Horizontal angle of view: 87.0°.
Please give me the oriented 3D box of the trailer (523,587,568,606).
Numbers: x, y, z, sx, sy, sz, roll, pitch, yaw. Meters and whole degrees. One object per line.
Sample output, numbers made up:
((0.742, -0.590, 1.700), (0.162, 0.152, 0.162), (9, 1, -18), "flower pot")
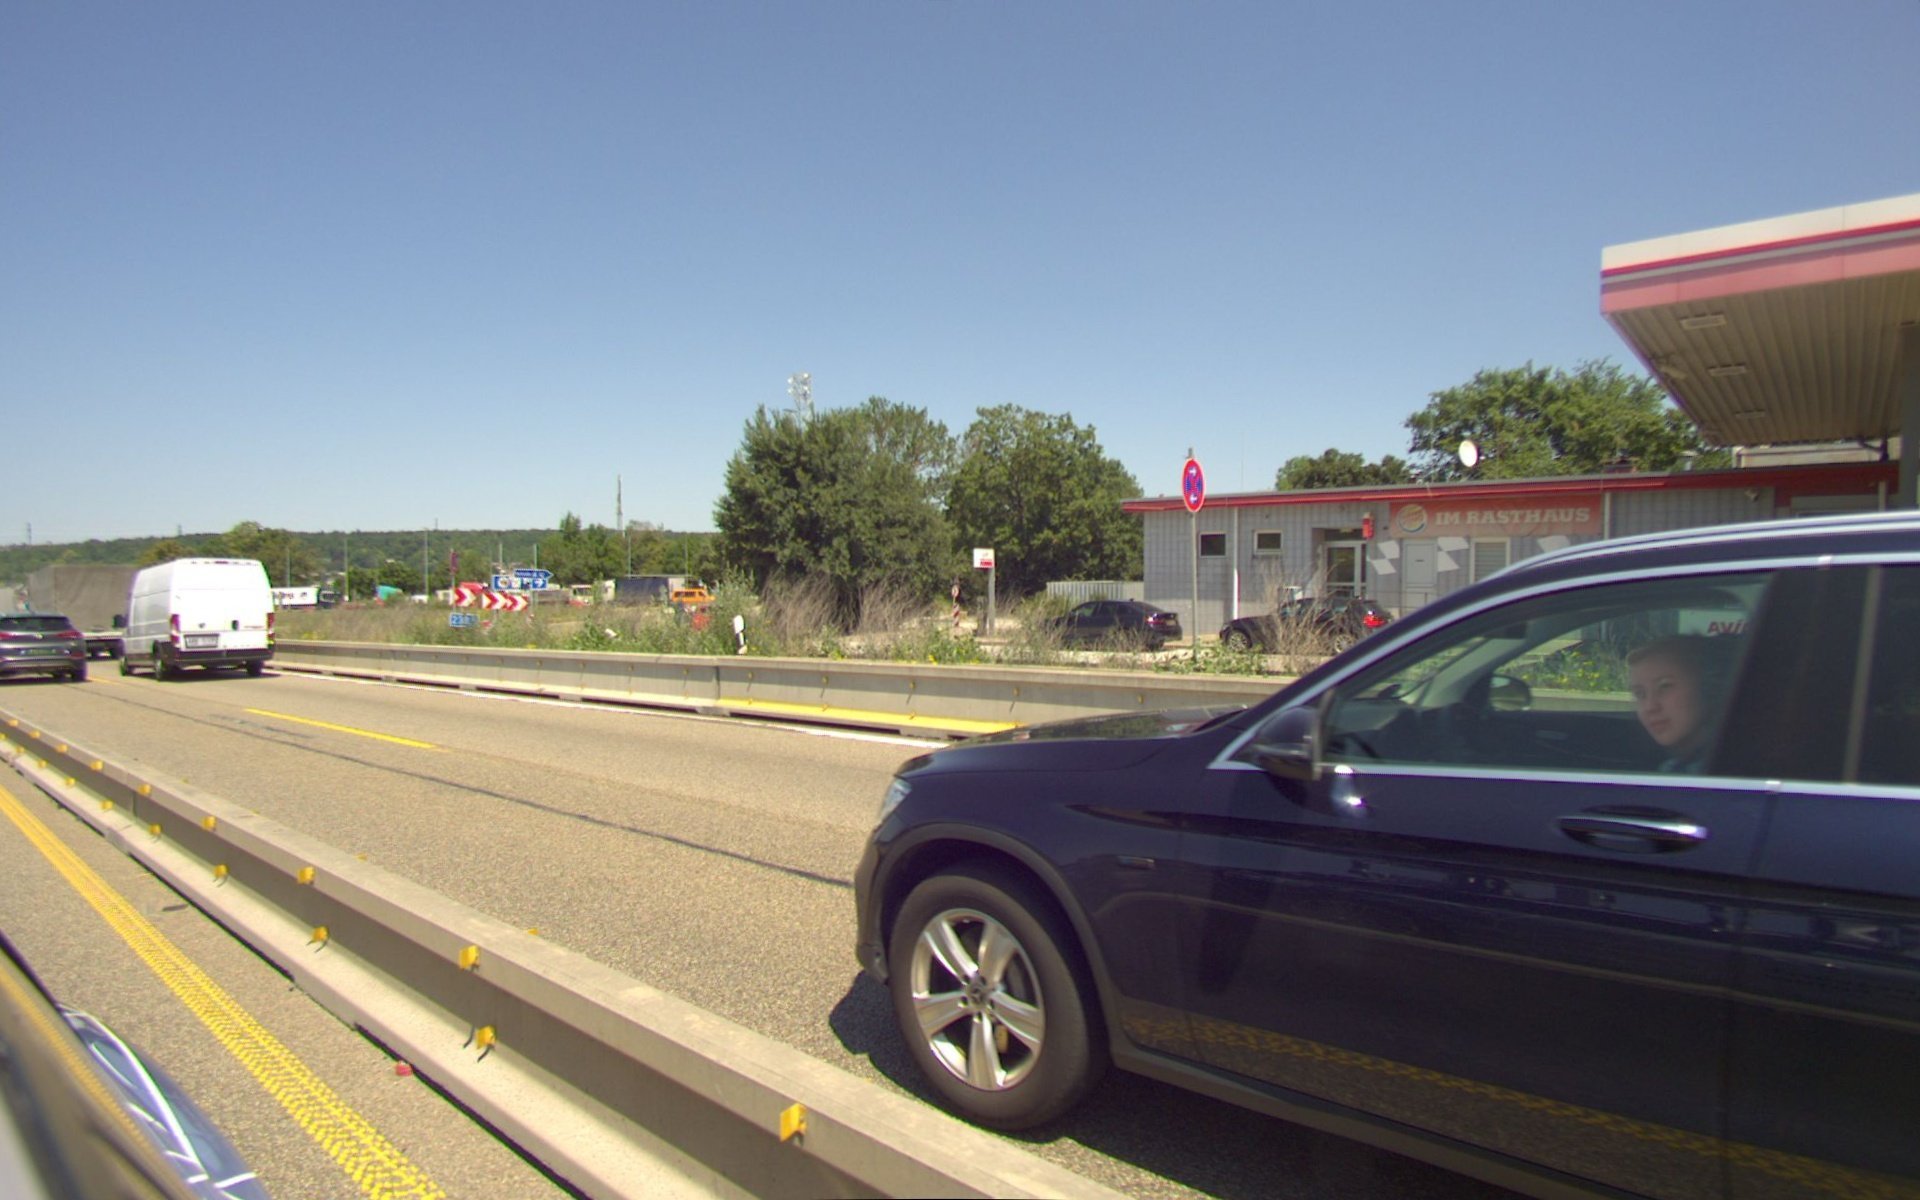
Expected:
((-80.739, -0.695, 196.828), (11.695, 3.405, 2.915), (-2, 0, 40), "trailer")

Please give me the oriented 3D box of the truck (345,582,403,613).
((-79.968, -0.334, 138.177), (6.054, 3.777, 2.837), (-4, 2, -4), "truck")

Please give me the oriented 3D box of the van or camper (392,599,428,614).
((-102.519, 1.239, 188.571), (8.584, 2.754, 2.728), (-2, -1, 38), "van or camper")

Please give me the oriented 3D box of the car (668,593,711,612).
((-34.628, 0.305, 129.599), (4.966, 2.270, 1.996), (-2, 0, 7), "car")

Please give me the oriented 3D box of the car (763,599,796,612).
((-26.181, 0.828, 147.067), (4.359, 1.847, 1.739), (-1, -1, 6), "car")

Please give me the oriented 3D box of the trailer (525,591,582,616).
((-50.490, 0.421, 125.593), (9.386, 2.788, 2.232), (-2, 0, 39), "trailer")

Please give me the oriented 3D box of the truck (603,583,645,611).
((-46.622, -0.370, 140.398), (5.957, 3.650, 2.835), (-2, 0, 41), "truck")

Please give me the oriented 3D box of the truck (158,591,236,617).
((-137.529, 0.714, 182.529), (11.344, 3.701, 2.534), (-4, 2, -5), "truck")

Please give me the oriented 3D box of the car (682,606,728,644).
((-10.809, 1.033, 42.766), (1.478, 1.342, 4.199), (-4, 2, -19), "car")

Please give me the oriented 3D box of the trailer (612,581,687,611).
((-41.873, -0.521, 136.169), (13.427, 3.650, 2.991), (-2, 0, 42), "trailer")

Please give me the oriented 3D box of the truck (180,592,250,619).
((-125.595, 0.924, 170.611), (9.135, 3.701, 2.866), (-4, 2, -5), "truck")

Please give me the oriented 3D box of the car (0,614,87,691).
((-21.969, 1.188, 23.651), (3.999, 1.623, 1.918), (-2, -1, 43), "car")

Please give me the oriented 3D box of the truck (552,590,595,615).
((-46.800, 0.313, 122.498), (5.625, 2.788, 2.247), (-2, 0, 39), "truck")

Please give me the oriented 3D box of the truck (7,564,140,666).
((-32.431, 0.498, 36.906), (8.113, 3.316, 2.469), (-1, 2, 41), "truck")

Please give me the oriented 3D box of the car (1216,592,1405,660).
((8.522, 0.632, 24.772), (3.997, 1.342, 1.630), (-2, 6, 41), "car")

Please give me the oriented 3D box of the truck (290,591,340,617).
((-98.741, 0.584, 154.981), (5.648, 3.644, 2.585), (-4, 2, -8), "truck")

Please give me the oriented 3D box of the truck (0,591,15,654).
((-55.230, 1.296, 57.019), (7.714, 3.410, 2.363), (-2, 0, 43), "truck")

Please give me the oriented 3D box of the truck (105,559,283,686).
((-19.228, 0.544, 25.258), (6.489, 2.807, 2.216), (-2, -1, 41), "truck")

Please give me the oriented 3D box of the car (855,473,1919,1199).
((2.084, 0.614, 2.122), (4.732, 1.616, 1.837), (-2, -1, 41), "car")

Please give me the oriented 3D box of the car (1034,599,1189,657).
((4.232, 0.822, 28.610), (3.998, 1.365, 1.629), (-3, 3, 41), "car")

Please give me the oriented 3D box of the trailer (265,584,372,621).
((-87.124, 0.283, 137.699), (12.193, 4.197, 2.863), (-4, 2, -4), "trailer")

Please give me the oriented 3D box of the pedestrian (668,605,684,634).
((-11.884, 0.822, 42.283), (0.467, 1.214, 0.587), (-1, -1, -34), "pedestrian")
